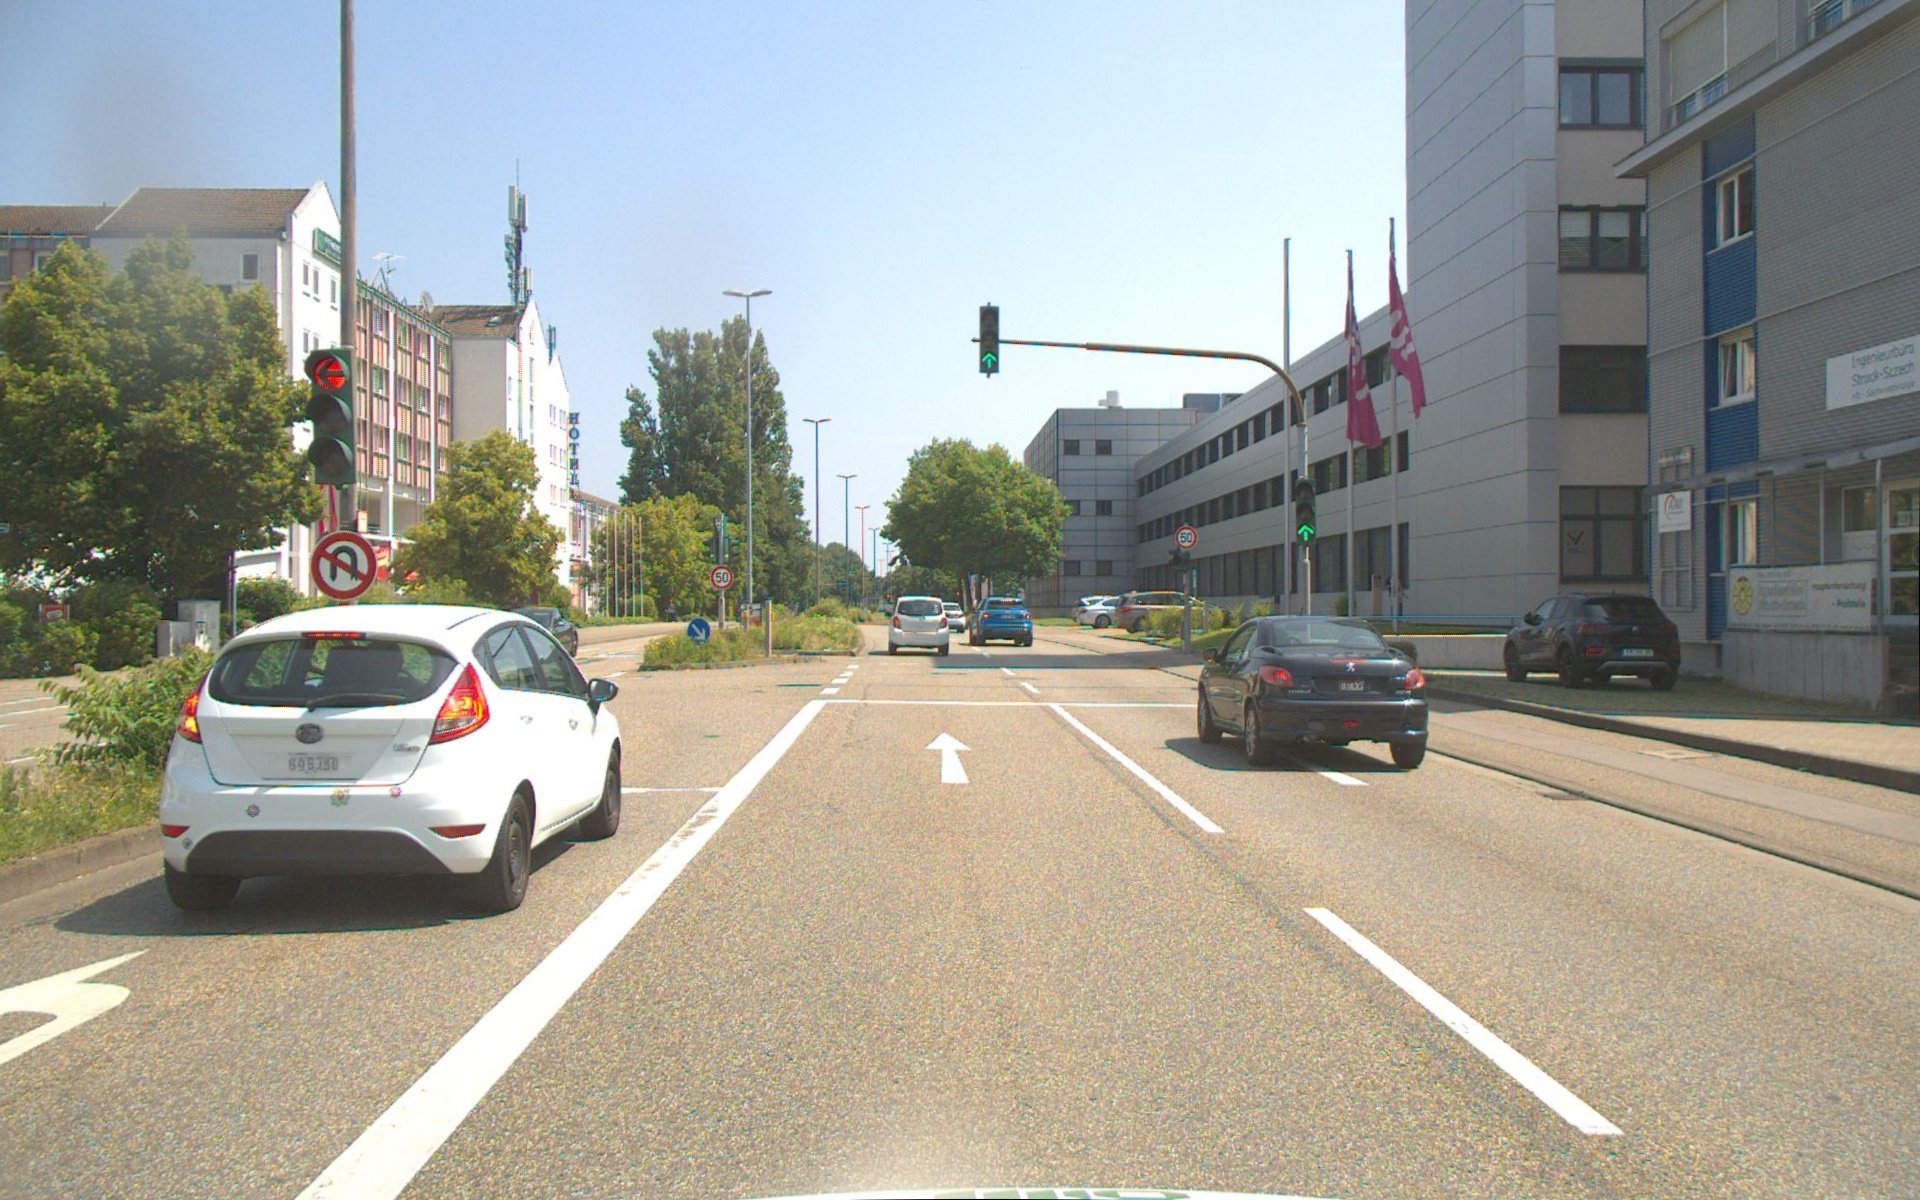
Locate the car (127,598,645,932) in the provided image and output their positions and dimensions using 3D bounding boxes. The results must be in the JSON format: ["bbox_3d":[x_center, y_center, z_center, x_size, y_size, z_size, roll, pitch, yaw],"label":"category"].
[{"bbox_3d":[-2.913,0.733,9.246,1.654,1.459,3.710,-1,0,-1],"label":"car"}]

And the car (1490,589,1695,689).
[{"bbox_3d":[10.673,0.613,28.245,1.806,1.558,4.195,1,0,-1],"label":"car"}]

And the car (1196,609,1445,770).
[{"bbox_3d":[3.463,0.806,16.498,1.594,1.388,3.604,0,0,-2],"label":"car"}]

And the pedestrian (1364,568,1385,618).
[{"bbox_3d":[13.735,-0.235,54.830,0.580,1.663,0.523,-1,0,7],"label":"pedestrian"}]

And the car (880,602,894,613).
[{"bbox_3d":[-10.952,1.112,247.448,1.784,1.691,3.995,-1,1,-6],"label":"car"}]

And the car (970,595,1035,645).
[{"bbox_3d":[1.381,0.638,55.035,1.792,1.608,3.602,-1,0,-5],"label":"car"}]

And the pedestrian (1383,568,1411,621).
[{"bbox_3d":[14.033,-0.173,53.176,0.514,1.692,0.753,-1,0,-19],"label":"pedestrian"}]

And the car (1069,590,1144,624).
[{"bbox_3d":[7.997,0.364,90.296,3.739,1.619,1.730,-3,0,-6],"label":"car"}]

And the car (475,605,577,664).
[{"bbox_3d":[-12.016,0.924,46.057,1.954,1.512,4.497,-1,0,-5],"label":"car"}]

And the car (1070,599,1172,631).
[{"bbox_3d":[7.664,0.719,78.825,4.524,1.414,1.997,-1,0,-6],"label":"car"}]

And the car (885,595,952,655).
[{"bbox_3d":[-1.092,0.657,45.050,1.712,1.546,3.745,1,0,0],"label":"car"}]

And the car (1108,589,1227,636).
[{"bbox_3d":[7.904,0.468,63.267,4.177,1.719,1.997,-1,0,-6],"label":"car"}]

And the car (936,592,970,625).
[{"bbox_3d":[-0.328,0.398,79.911,1.527,1.546,3.606,-1,0,1],"label":"car"}]
